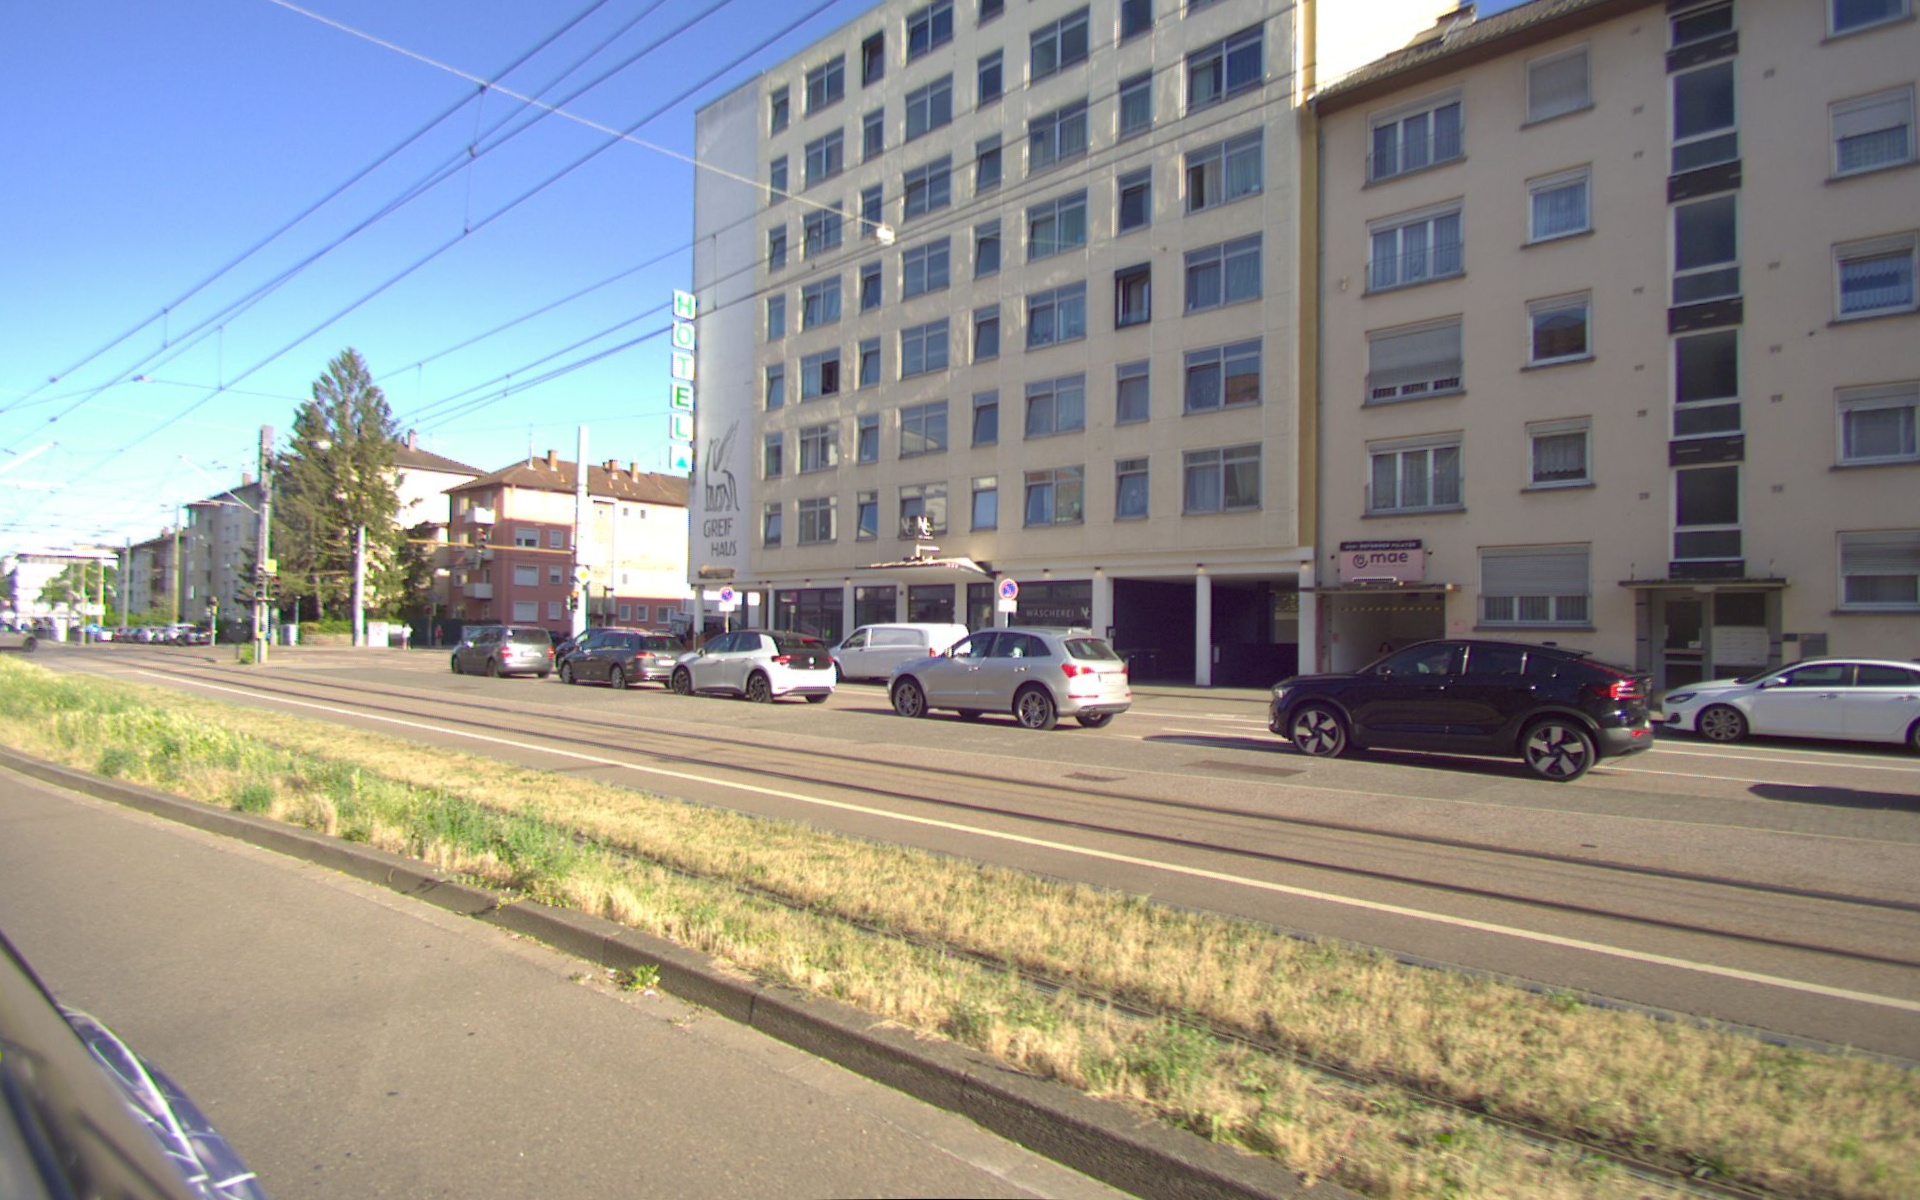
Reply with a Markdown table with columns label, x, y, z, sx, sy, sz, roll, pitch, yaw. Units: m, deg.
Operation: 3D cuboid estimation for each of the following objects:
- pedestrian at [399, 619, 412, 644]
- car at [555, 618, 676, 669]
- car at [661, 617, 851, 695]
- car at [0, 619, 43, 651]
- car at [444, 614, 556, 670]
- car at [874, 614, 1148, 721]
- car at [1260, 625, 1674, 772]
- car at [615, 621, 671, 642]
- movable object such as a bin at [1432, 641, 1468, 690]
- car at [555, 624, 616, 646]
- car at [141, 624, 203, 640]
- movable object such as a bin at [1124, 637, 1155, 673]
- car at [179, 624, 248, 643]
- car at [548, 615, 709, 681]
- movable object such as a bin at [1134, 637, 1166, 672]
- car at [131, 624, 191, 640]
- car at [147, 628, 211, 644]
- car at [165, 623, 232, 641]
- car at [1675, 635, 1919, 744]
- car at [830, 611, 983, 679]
| label | x | y | z | sx | sy | sz | roll | pitch | yaw |
| --- | --- | --- | --- | --- | --- | --- | --- | --- | --- |
| pedestrian | -36.276 | 2.052 | 66.193 | 0.510 | 1.618 | 0.607 | -1 | 0 | 40 |
| car | -11.306 | 1.399 | 33.097 | 3.997 | 1.571 | 1.973 | -1 | -3 | 40 |
| car | -4.540 | 1.203 | 22.233 | 4.237 | 1.562 | 1.838 | -1 | -5 | 40 |
| car | -44.545 | 1.637 | 46.341 | 1.698 | 1.397 | 3.712 | -1 | 0 | 1 |
| car | -14.176 | 1.279 | 31.083 | 3.999 | 1.571 | 1.596 | -1 | -5 | 42 |
| car | 0.755 | 1.089 | 17.286 | 4.606 | 1.593 | 1.764 | -2 | -4 | 42 |
| car | 6.223 | 1.113 | 12.693 | 4.408 | 1.540 | 1.766 | -1 | -3 | 37 |
| car | -24.946 | 2.445 | 79.611 | 1.786 | 1.453 | 3.847 | -1 | 0 | 41 |
| movable object such as a bin | 11.253 | 1.503 | 23.228 | 0.546 | 1.059 | 0.764 | -1 | 0 | 42 |
| car | -28.106 | 2.585 | 76.024 | 1.748 | 1.453 | 3.945 | -1 | 0 | 41 |
| car | -68.208 | 2.809 | 87.660 | 1.737 | 1.342 | 3.945 | -1 | -3 | 41 |
| movable object such as a bin | 5.414 | 1.649 | 30.533 | 0.775 | 1.059 | 0.538 | -2 | -3 | 44 |
| car | -56.778 | 2.573 | 77.023 | 1.737 | 1.342 | 3.945 | -1 | -3 | 41 |
| car | -8.746 | 1.241 | 26.525 | 4.363 | 1.562 | 1.973 | -1 | -5 | 40 |
| movable object such as a bin | 5.811 | 1.657 | 30.935 | 0.775 | 1.059 | 0.538 | -2 | -3 | 44 |
| car | -71.381 | 2.897 | 90.441 | 1.737 | 1.342 | 3.945 | -1 | -3 | 41 |
| car | -65.087 | 3.018 | 84.415 | 1.737 | 1.342 | 3.945 | -1 | -3 | 41 |
| car | -60.858 | 2.582 | 80.928 | 1.737 | 1.342 | 3.945 | -1 | -3 | 41 |
| car | 14.049 | 1.363 | 16.090 | 4.199 | 1.497 | 1.740 | -1 | 0 | 42 |
| car | -1.716 | 1.331 | 31.310 | 4.667 | 1.912 | 1.973 | -1 | 0 | 40 |
